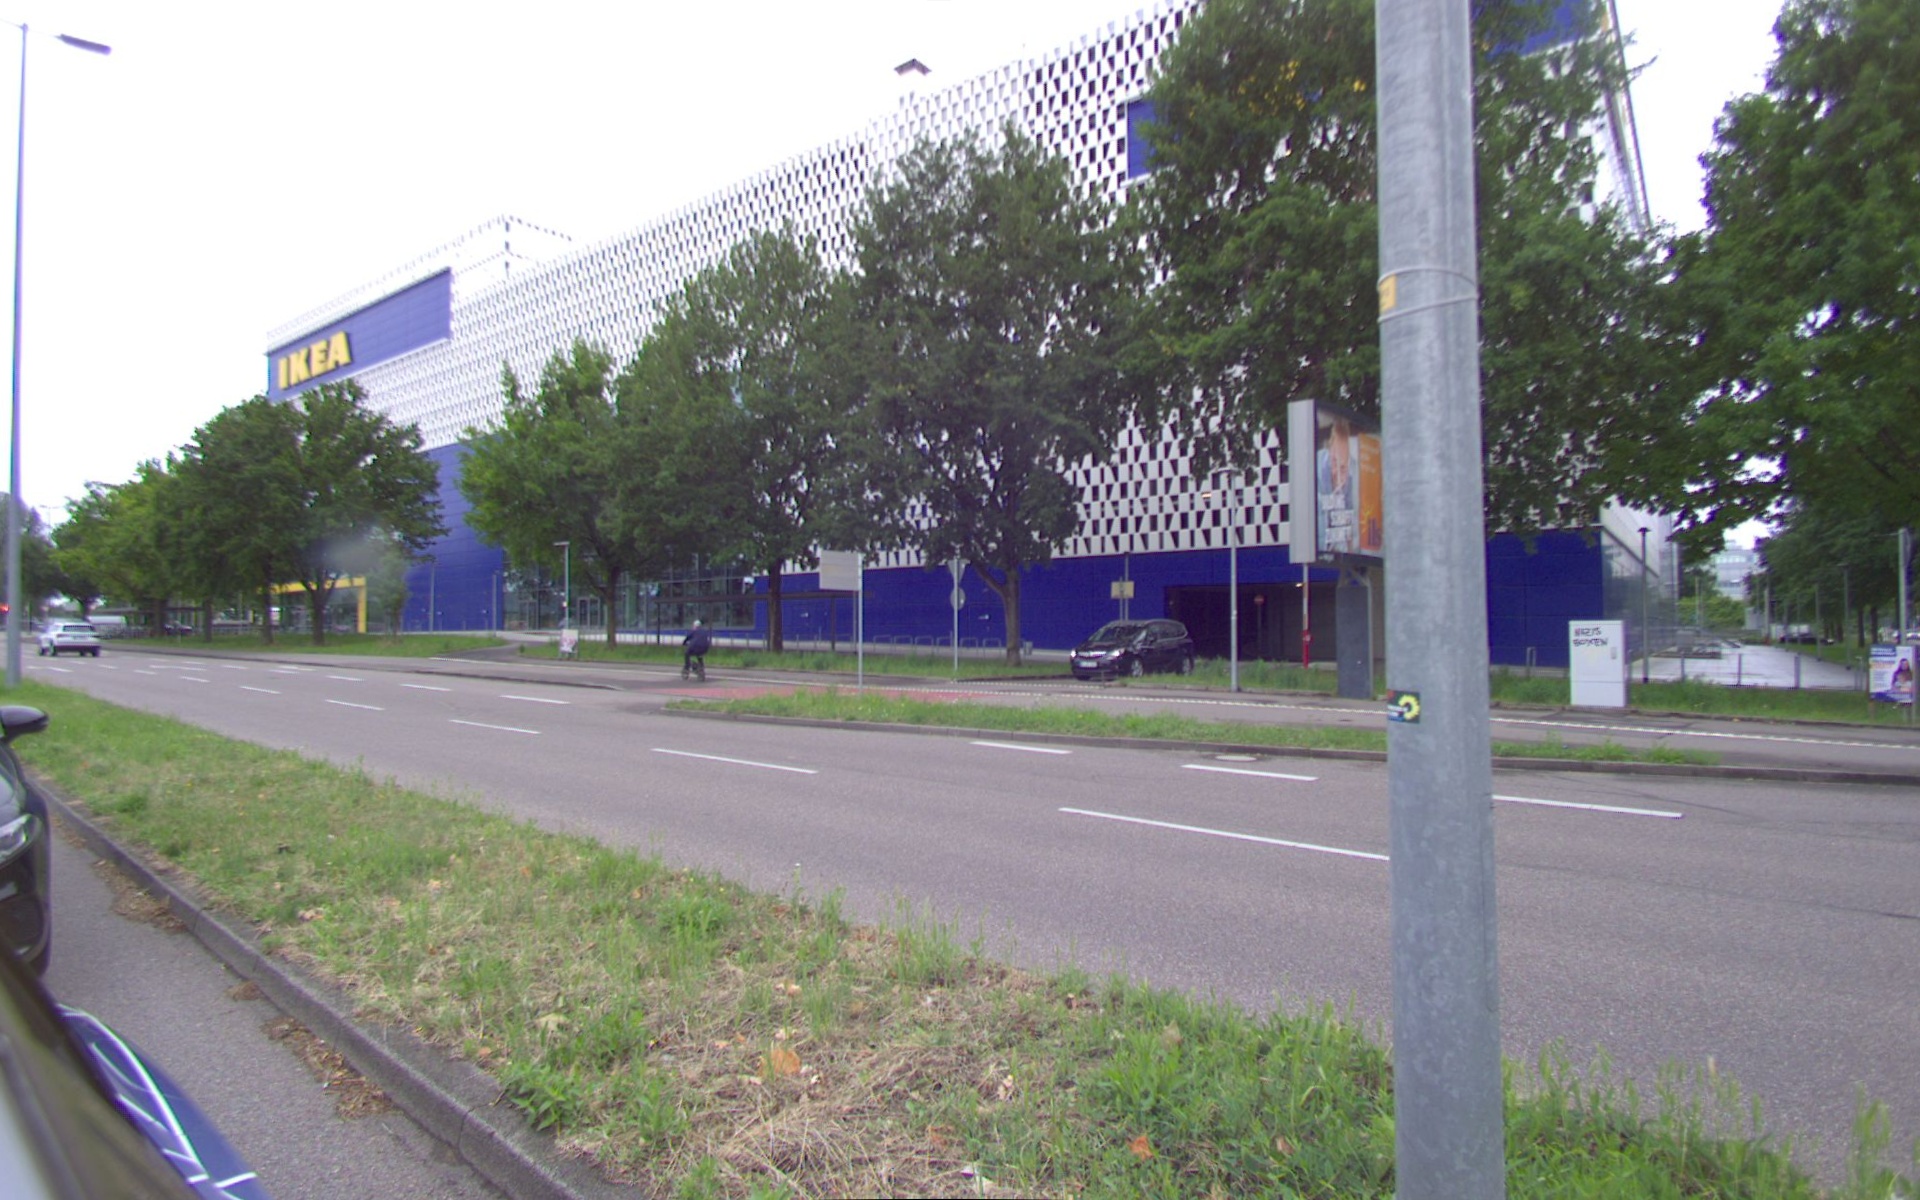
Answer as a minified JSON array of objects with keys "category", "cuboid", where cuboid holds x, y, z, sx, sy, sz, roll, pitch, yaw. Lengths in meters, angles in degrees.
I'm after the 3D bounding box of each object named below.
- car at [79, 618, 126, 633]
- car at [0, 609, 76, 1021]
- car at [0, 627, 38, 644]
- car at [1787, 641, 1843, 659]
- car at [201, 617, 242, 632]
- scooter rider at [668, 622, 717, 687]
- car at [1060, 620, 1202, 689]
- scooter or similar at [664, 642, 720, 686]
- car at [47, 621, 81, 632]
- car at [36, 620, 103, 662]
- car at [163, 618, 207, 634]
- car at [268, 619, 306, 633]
[{"category":"car","cuboid":[-119.784,3.535,141.390,1.998,2.029,4.650,-1,0,38]},{"category":"car","cuboid":[-5.429,0.827,4.408,4.194,1.445,1.835,-2,-1,41]},{"category":"car","cuboid":[-119.655,4.498,128.227,1.998,2.029,3.948,-1,0,38]},{"category":"car","cuboid":[83.288,4.835,98.609,3.991,1.630,1.782,-1,0,35]},{"category":"car","cuboid":[-98.025,3.220,134.290,1.994,1.829,3.956,-1,0,33]},{"category":"scooter rider","cuboid":[-7.332,1.465,27.706,1.033,1.733,0.791,-1,-1,24]},{"category":"car","cuboid":[4.678,1.407,27.277,1.847,1.668,4.303,-2,-2,40]},{"category":"scooter or similar","cuboid":[-7.327,1.734,27.687,1.417,1.134,0.585,-1,2,24]},{"category":"car","cuboid":[-161.087,4.719,181.978,1.741,1.837,4.239,-1,0,37]},{"category":"car","cuboid":[-43.153,1.949,49.017,3.921,1.900,1.824,-1,0,39]},{"category":"car","cuboid":[-86.318,2.875,112.748,1.741,1.652,3.522,-1,0,37]},{"category":"car","cuboid":[-93.551,3.599,140.628,1.994,1.829,3.956,-1,0,33]}]
